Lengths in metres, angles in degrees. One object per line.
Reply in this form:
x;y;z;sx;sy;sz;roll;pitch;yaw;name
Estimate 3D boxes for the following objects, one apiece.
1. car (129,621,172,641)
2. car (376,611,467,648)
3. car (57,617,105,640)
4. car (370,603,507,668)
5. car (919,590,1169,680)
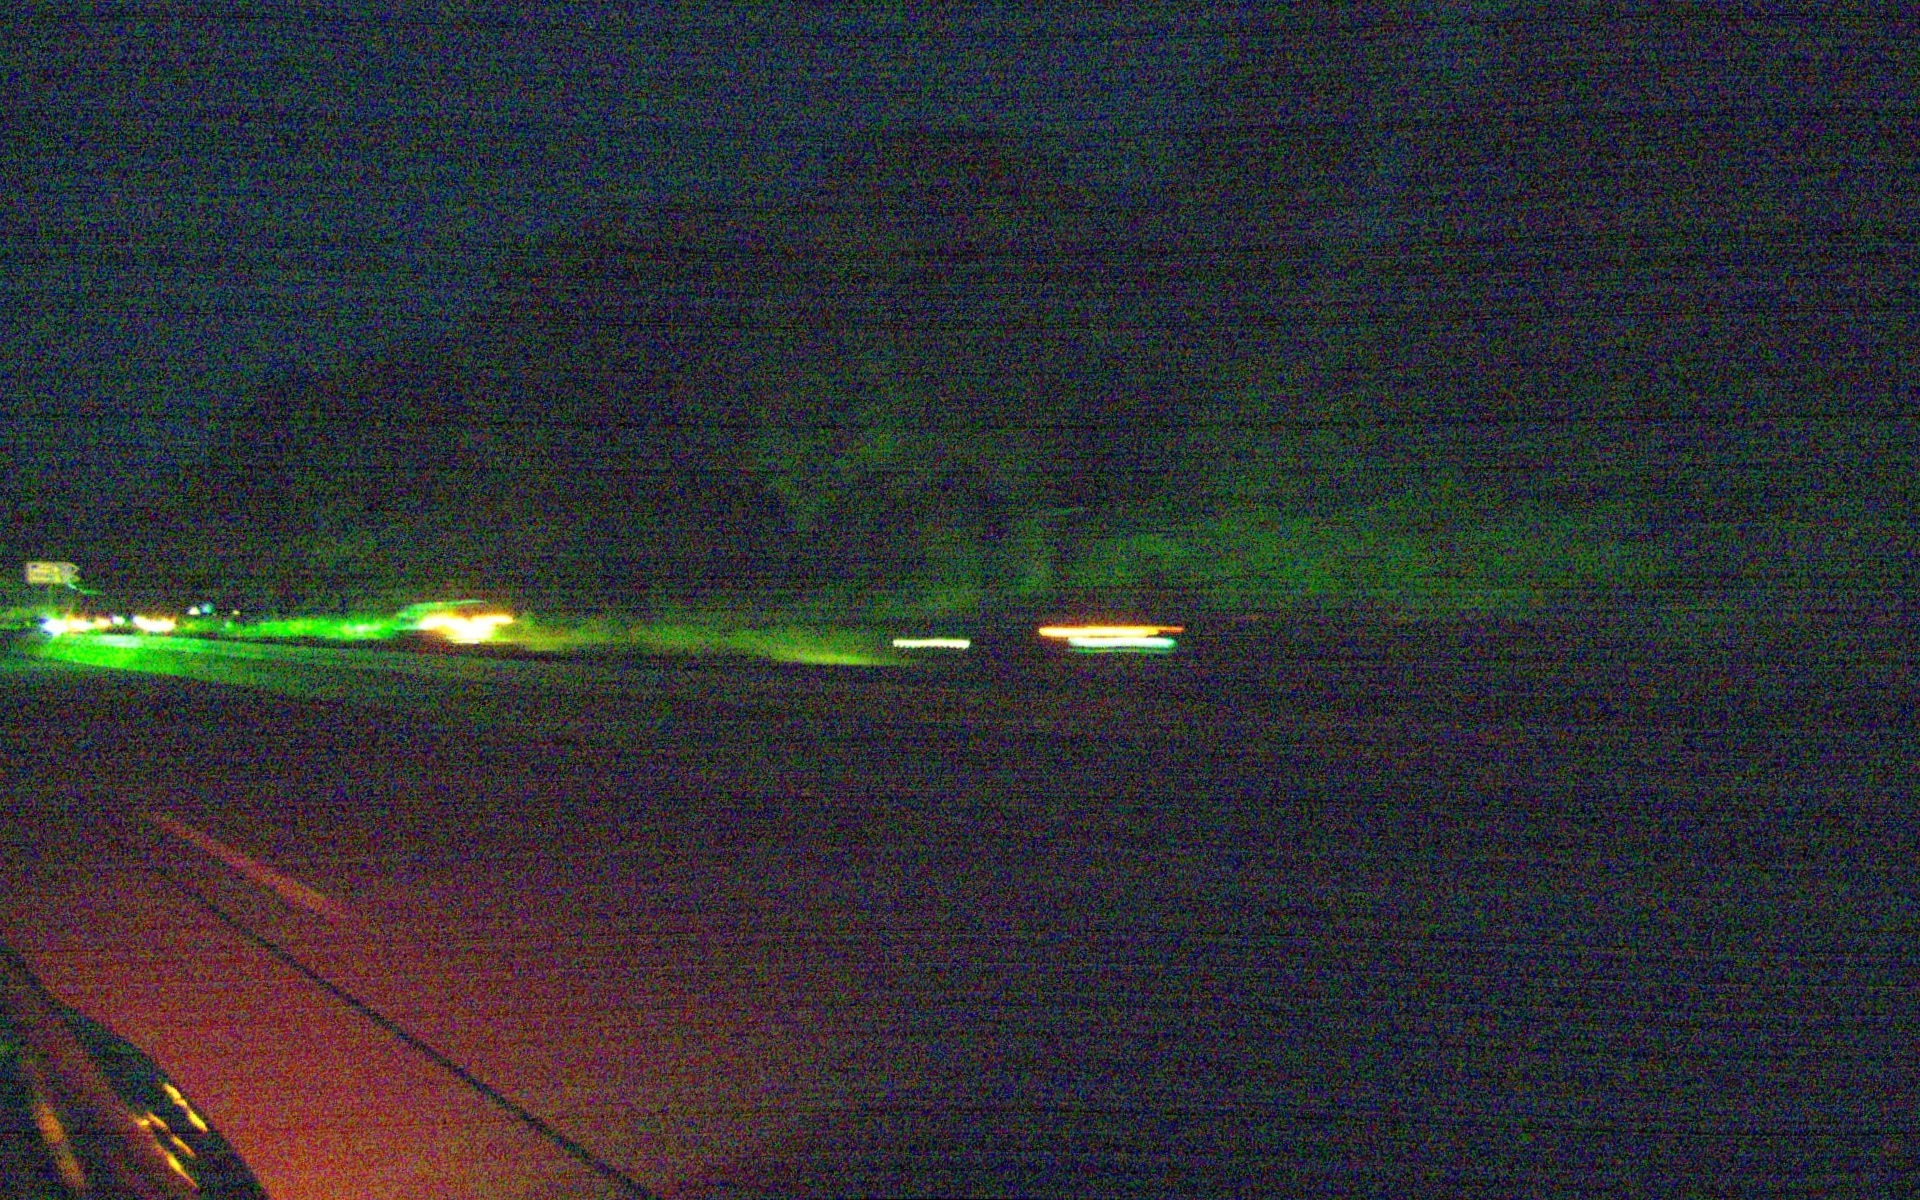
-61.929;2.342;77.437;4.169;1.468;1.937;-2;-1;42;car
-23.315;1.257;43.761;4.840;1.422;1.754;-1;1;40;car
-59.921;1.929;68.973;4.470;1.468;1.937;-2;-1;42;car
-15.396;1.020;29.759;5.078;1.747;1.937;-2;-1;42;car
1.473;0.619;18.791;4.335;1.468;1.937;-2;-1;42;car
